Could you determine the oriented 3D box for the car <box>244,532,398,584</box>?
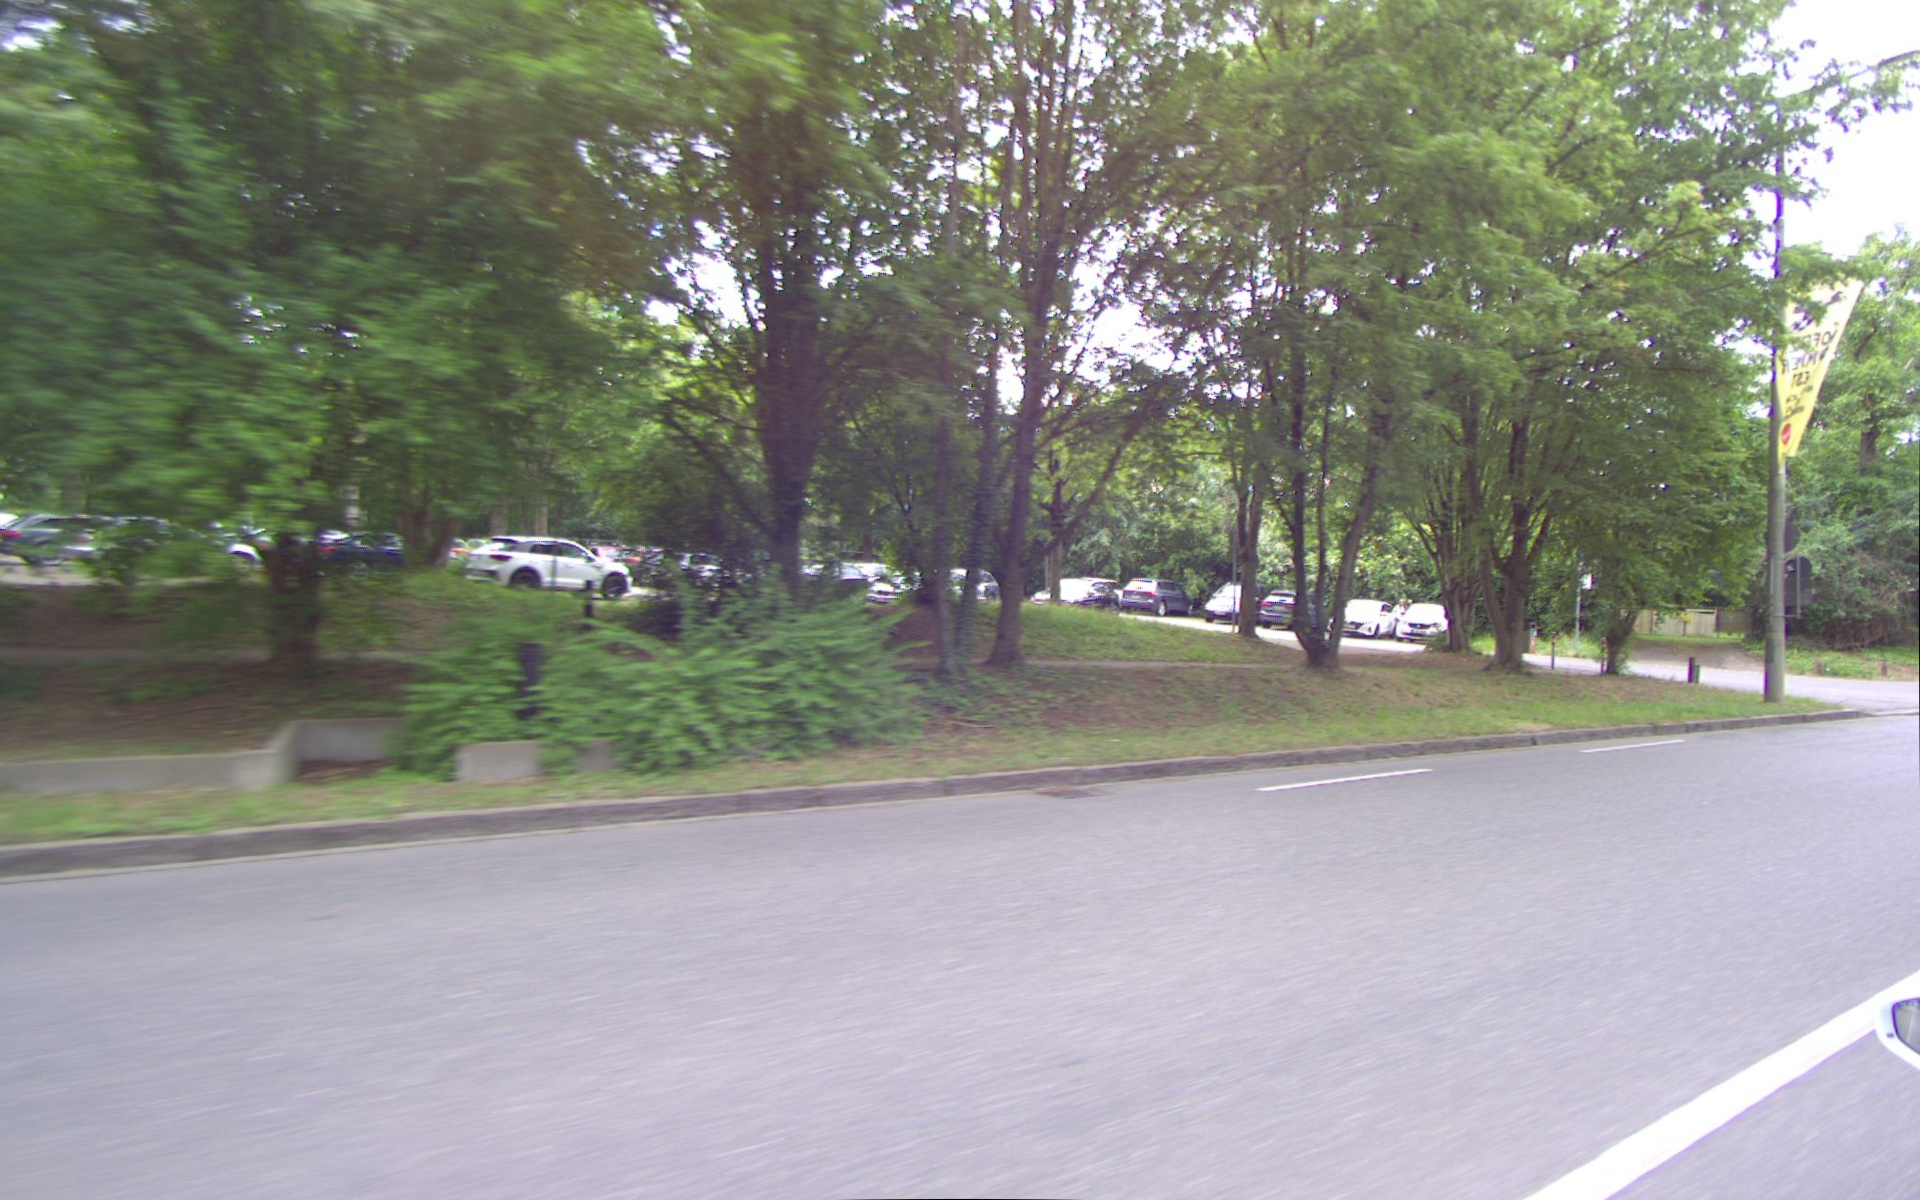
[{"bbox_3d":[-21.128,-1.364,33.353,1.624,1.506,3.986,2,1,36],"label":"car"}]

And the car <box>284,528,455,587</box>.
[{"bbox_3d":[-17.159,-1.191,29.334,1.624,1.506,3.986,2,1,36],"label":"car"}]

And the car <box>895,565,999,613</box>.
[{"bbox_3d":[-0.377,-0.345,32.833,1.620,1.399,3.578,4,2,33],"label":"car"}]

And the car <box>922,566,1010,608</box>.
[{"bbox_3d":[0.260,-0.459,37.485,1.516,1.434,3.365,4,2,38],"label":"car"}]

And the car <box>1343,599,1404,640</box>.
[{"bbox_3d":[16.073,0.745,38.976,1.354,1.420,3.058,4,2,38],"label":"car"}]

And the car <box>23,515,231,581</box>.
[{"bbox_3d":[-22.064,-1.329,26.750,1.624,1.506,3.986,2,1,36],"label":"car"}]

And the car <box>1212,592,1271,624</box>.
[{"bbox_3d":[11.793,0.334,42.014,1.247,1.228,3.058,4,2,38],"label":"car"}]

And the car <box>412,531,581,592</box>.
[{"bbox_3d":[-12.838,-1.033,28.019,1.624,1.506,3.986,2,1,36],"label":"car"}]

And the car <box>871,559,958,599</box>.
[{"bbox_3d":[-1.753,-0.812,39.458,1.516,1.434,3.365,4,2,38],"label":"car"}]

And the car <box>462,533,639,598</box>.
[{"bbox_3d":[-10.572,-0.848,26.175,1.624,1.506,3.986,2,1,36],"label":"car"}]

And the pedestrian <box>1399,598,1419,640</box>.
[{"bbox_3d":[17.567,0.743,39.274,0.463,1.632,0.827,2,1,38],"label":"pedestrian"}]

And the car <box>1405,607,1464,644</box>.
[{"bbox_3d":[18.045,0.940,38.159,1.354,1.255,3.058,4,2,38],"label":"car"}]

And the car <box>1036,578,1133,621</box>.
[{"bbox_3d":[4.403,0.006,35.146,1.419,1.358,4.107,4,2,38],"label":"car"}]

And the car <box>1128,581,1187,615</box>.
[{"bbox_3d":[8.825,-0.068,44.720,1.247,1.379,3.058,4,2,38],"label":"car"}]

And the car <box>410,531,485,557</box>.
[{"bbox_3d":[-27.101,-2.944,53.087,3.920,1.226,1.897,2,1,36],"label":"car"}]

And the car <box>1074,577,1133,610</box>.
[{"bbox_3d":[6.572,-0.290,45.955,1.247,1.387,3.058,4,2,38],"label":"car"}]

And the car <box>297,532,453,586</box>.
[{"bbox_3d":[-18.563,-1.265,32.047,1.624,1.506,3.986,2,1,36],"label":"car"}]

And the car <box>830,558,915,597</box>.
[{"bbox_3d":[-3.536,-0.886,40.854,1.516,1.434,3.365,4,2,38],"label":"car"}]

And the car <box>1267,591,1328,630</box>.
[{"bbox_3d":[13.654,0.429,40.590,1.354,1.420,3.058,4,2,38],"label":"car"}]
